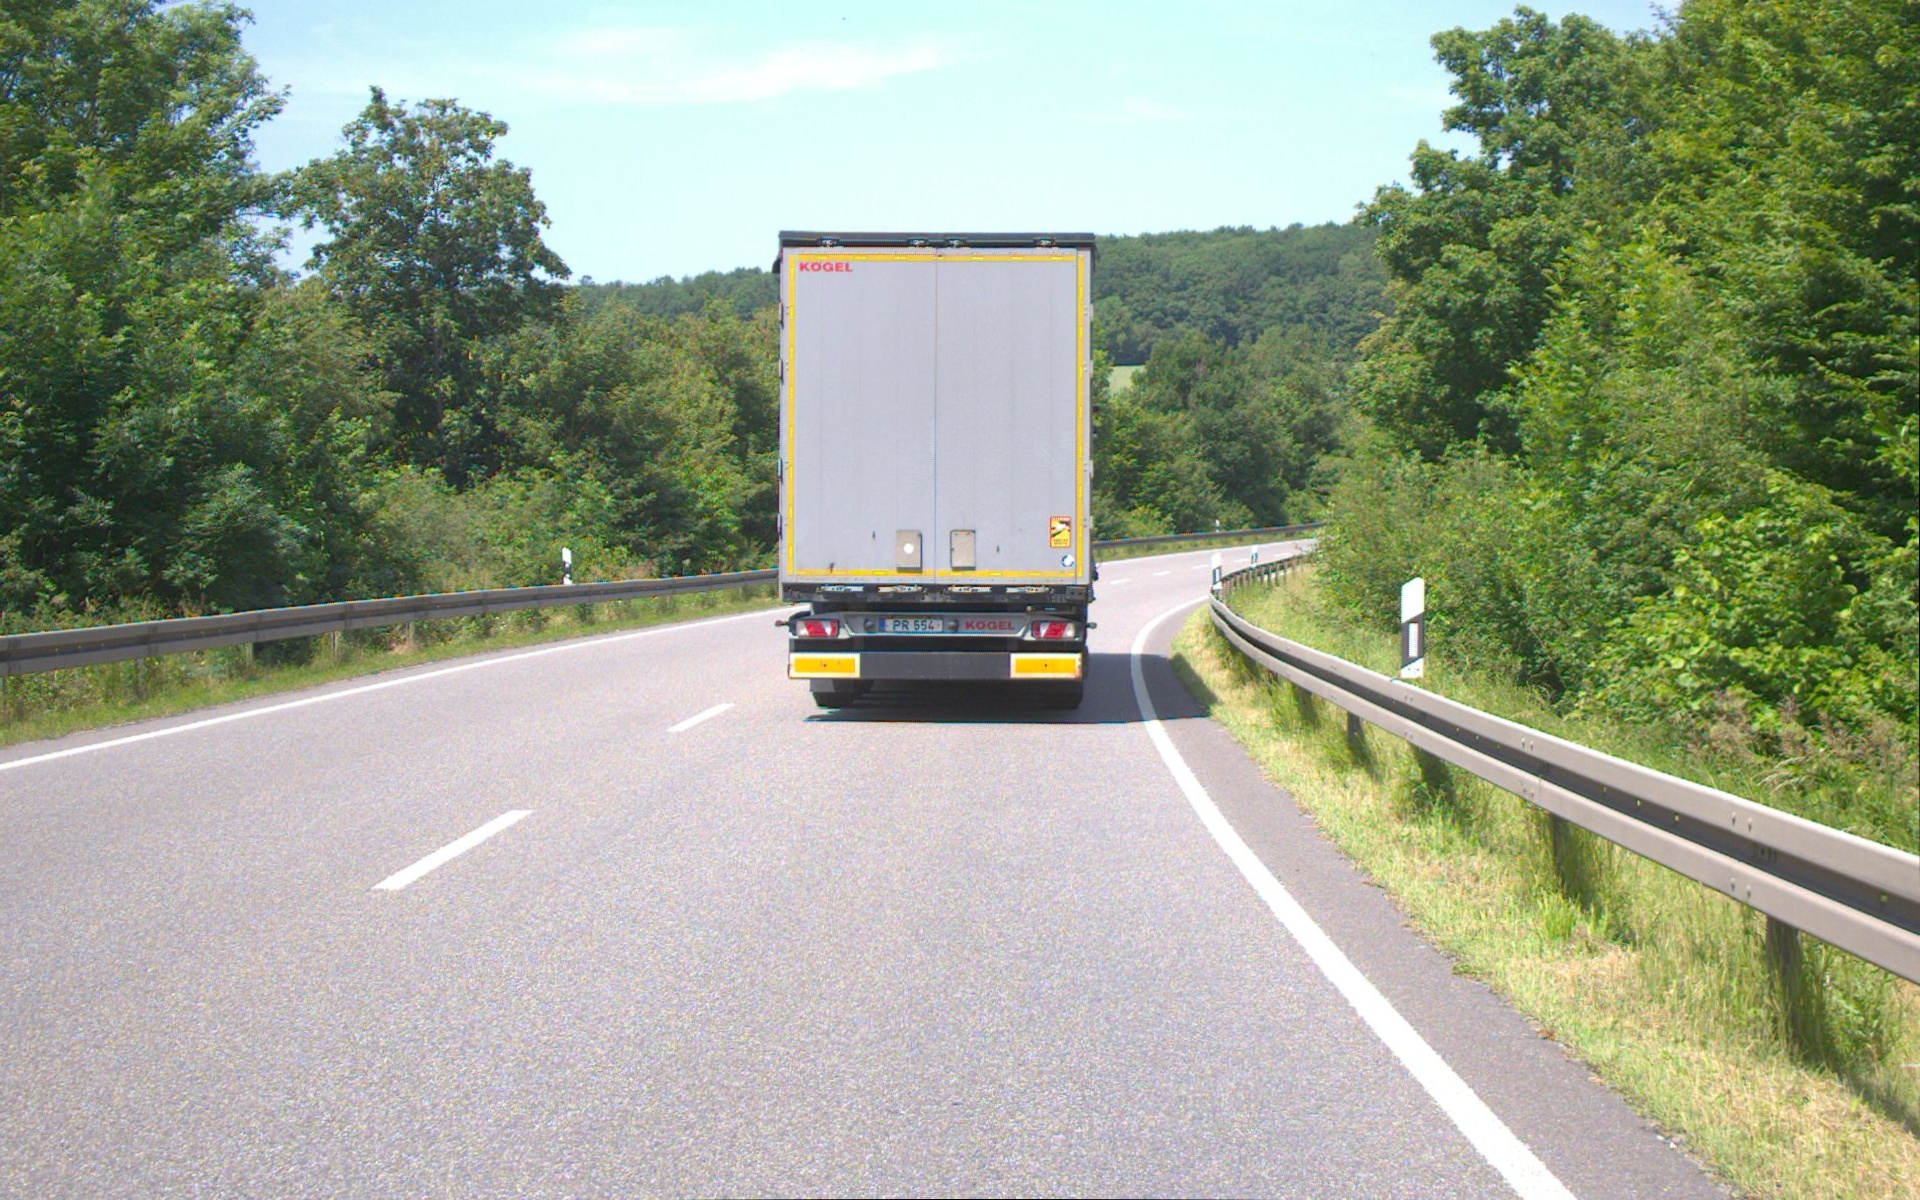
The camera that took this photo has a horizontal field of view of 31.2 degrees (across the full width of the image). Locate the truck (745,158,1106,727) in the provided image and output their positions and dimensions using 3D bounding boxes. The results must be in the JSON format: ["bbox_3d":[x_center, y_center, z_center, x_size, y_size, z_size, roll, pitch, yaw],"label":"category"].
[{"bbox_3d":[-0.137,-1.361,33.477,2.817,4.517,11.768,1,1,1],"label":"truck"}]
